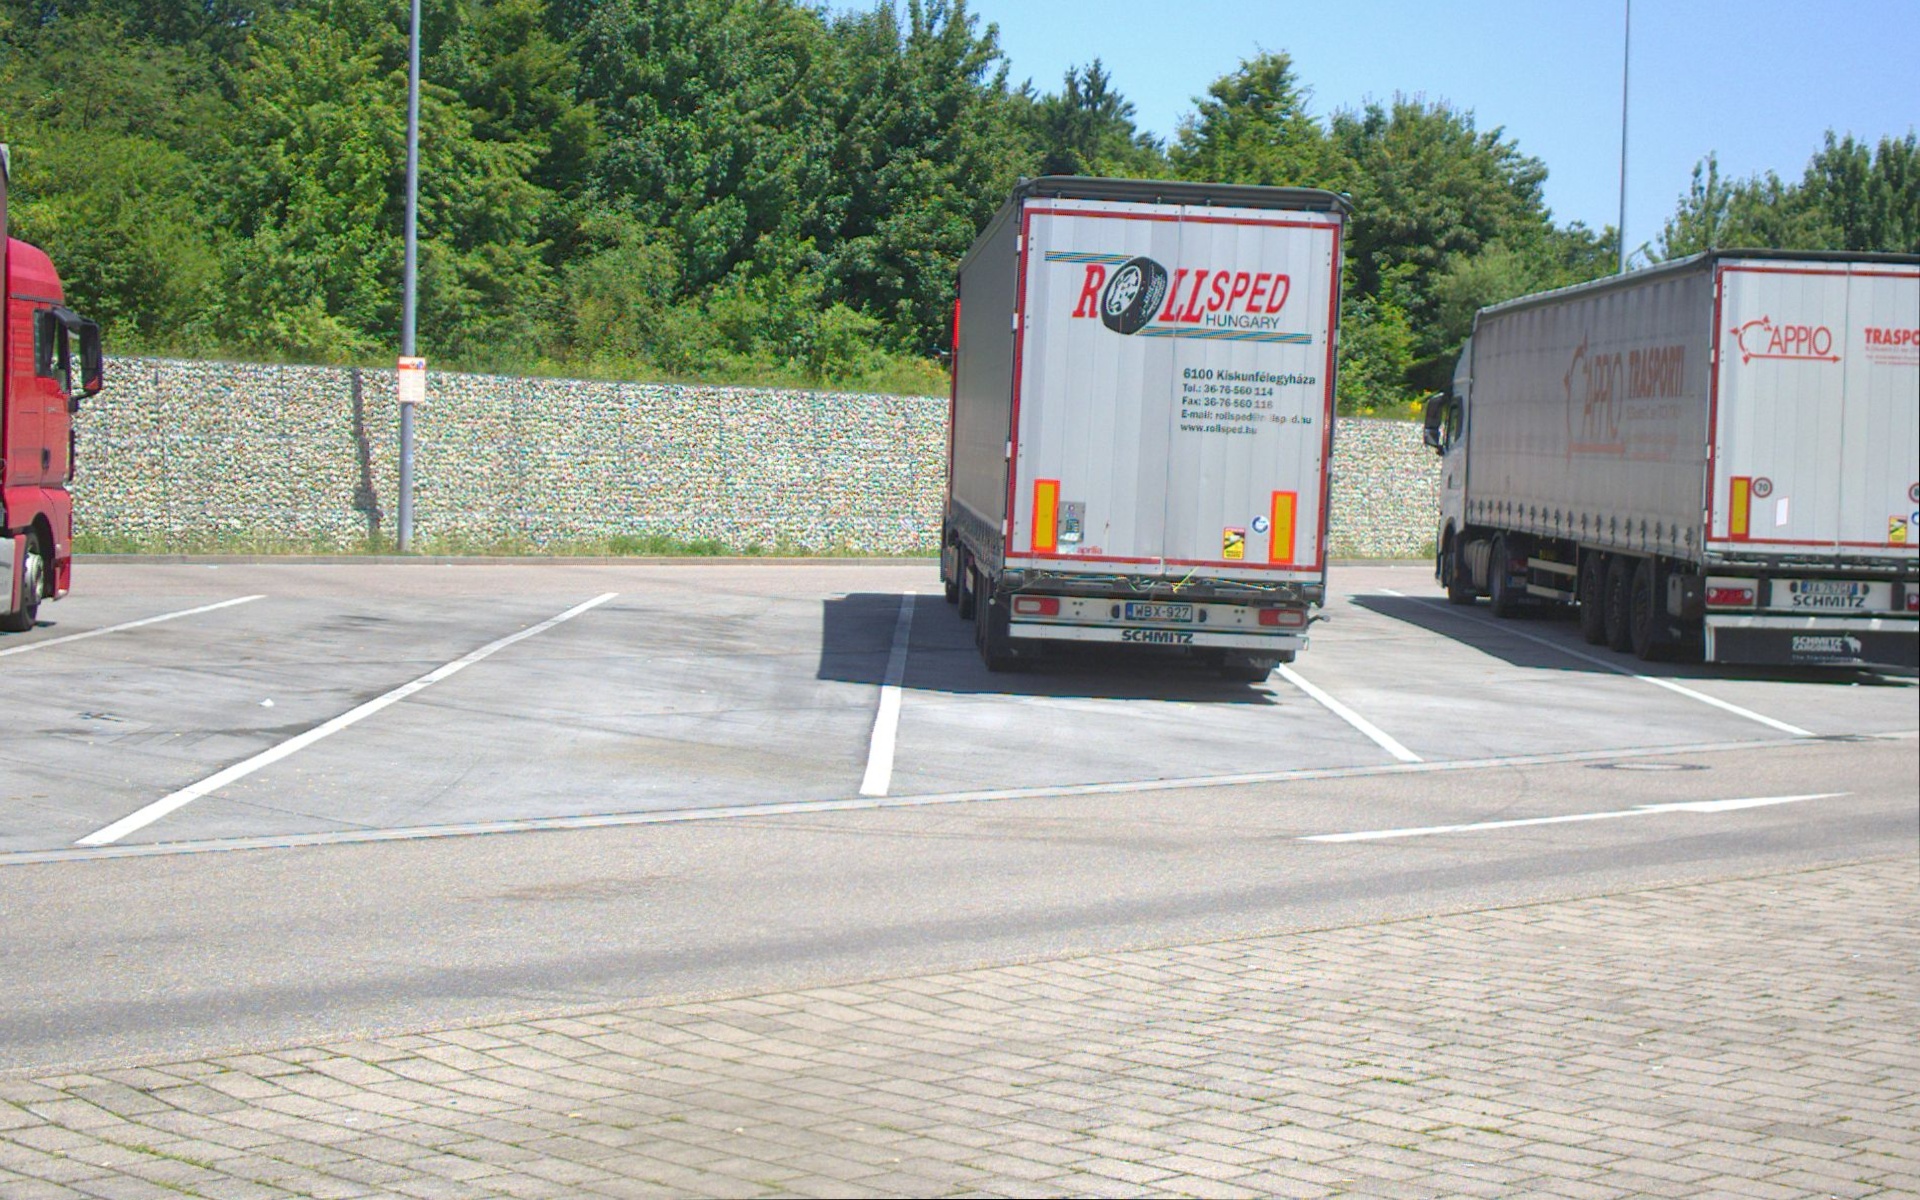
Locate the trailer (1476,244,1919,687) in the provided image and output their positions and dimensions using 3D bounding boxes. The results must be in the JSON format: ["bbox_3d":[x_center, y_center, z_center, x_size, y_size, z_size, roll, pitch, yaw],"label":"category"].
[{"bbox_3d":[8.180,-1.574,37.973,2.866,4.023,12.439,2,3,0],"label":"trailer"}]

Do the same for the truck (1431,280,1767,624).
[{"bbox_3d":[8.120,-1.957,44.600,2.866,4.023,6.957,2,3,0],"label":"truck"}]

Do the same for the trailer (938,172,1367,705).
[{"bbox_3d":[1.436,-1.640,33.635,2.866,4.023,14.243,2,3,-2],"label":"trailer"}]

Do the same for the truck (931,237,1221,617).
[{"bbox_3d":[1.223,-2.060,40.714,2.866,4.023,7.028,2,3,-2],"label":"truck"}]

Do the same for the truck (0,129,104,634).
[{"bbox_3d":[-9.151,-1.815,27.996,2.696,4.099,6.240,2,3,0],"label":"truck"}]

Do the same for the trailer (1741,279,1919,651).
[{"bbox_3d":[11.835,-1.534,39.038,2.866,4.023,12.439,2,3,0],"label":"trailer"}]
